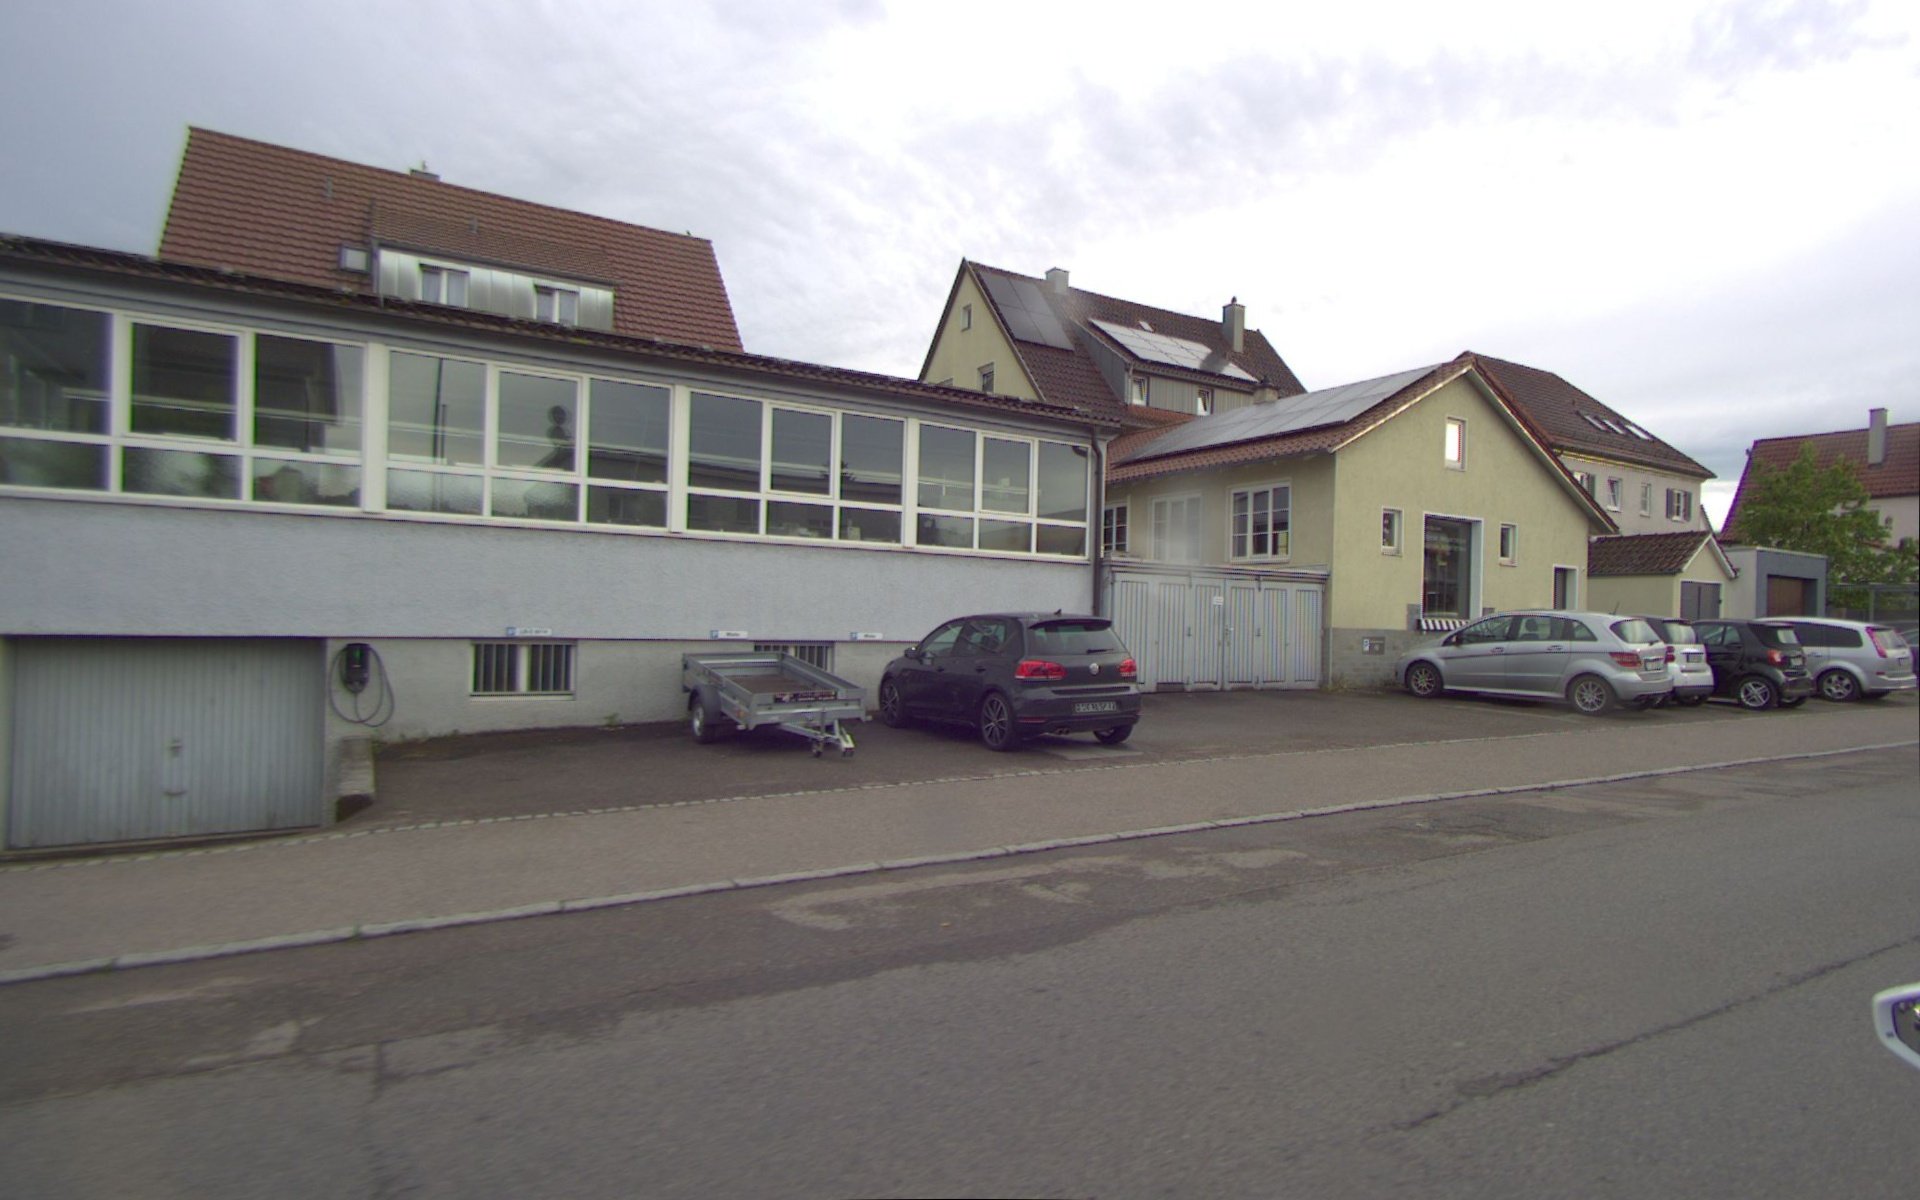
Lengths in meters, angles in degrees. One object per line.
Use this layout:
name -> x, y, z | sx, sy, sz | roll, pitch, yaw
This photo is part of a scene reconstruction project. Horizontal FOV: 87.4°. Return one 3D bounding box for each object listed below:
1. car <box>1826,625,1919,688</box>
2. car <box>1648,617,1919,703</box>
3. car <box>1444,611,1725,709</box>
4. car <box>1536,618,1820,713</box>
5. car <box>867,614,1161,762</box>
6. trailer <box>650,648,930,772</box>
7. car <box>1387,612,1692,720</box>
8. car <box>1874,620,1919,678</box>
car -> 23.977, 1.411, 24.478 | 1.697, 1.433, 4.055 | 1, 1, -36
car -> 16.894, 1.149, 20.753 | 1.864, 1.534, 4.058 | 1, 0, -34
car -> 11.421, 1.011, 18.640 | 1.794, 1.553, 4.061 | 1, 0, -32
car -> 13.475, 1.141, 19.082 | 1.738, 1.523, 4.058 | 1, 0, -34
car -> 0.473, 0.909, 12.121 | 1.747, 1.457, 3.855 | 1, -1, -30
trailer -> -2.136, 1.122, 11.513 | 1.774, 0.955, 4.175 | 1, 0, -31
car -> 9.711, 1.019, 17.118 | 1.980, 1.553, 4.058 | 1, -1, -34
car -> 26.493, 1.353, 26.202 | 1.738, 1.476, 3.563 | 1, 1, -33
